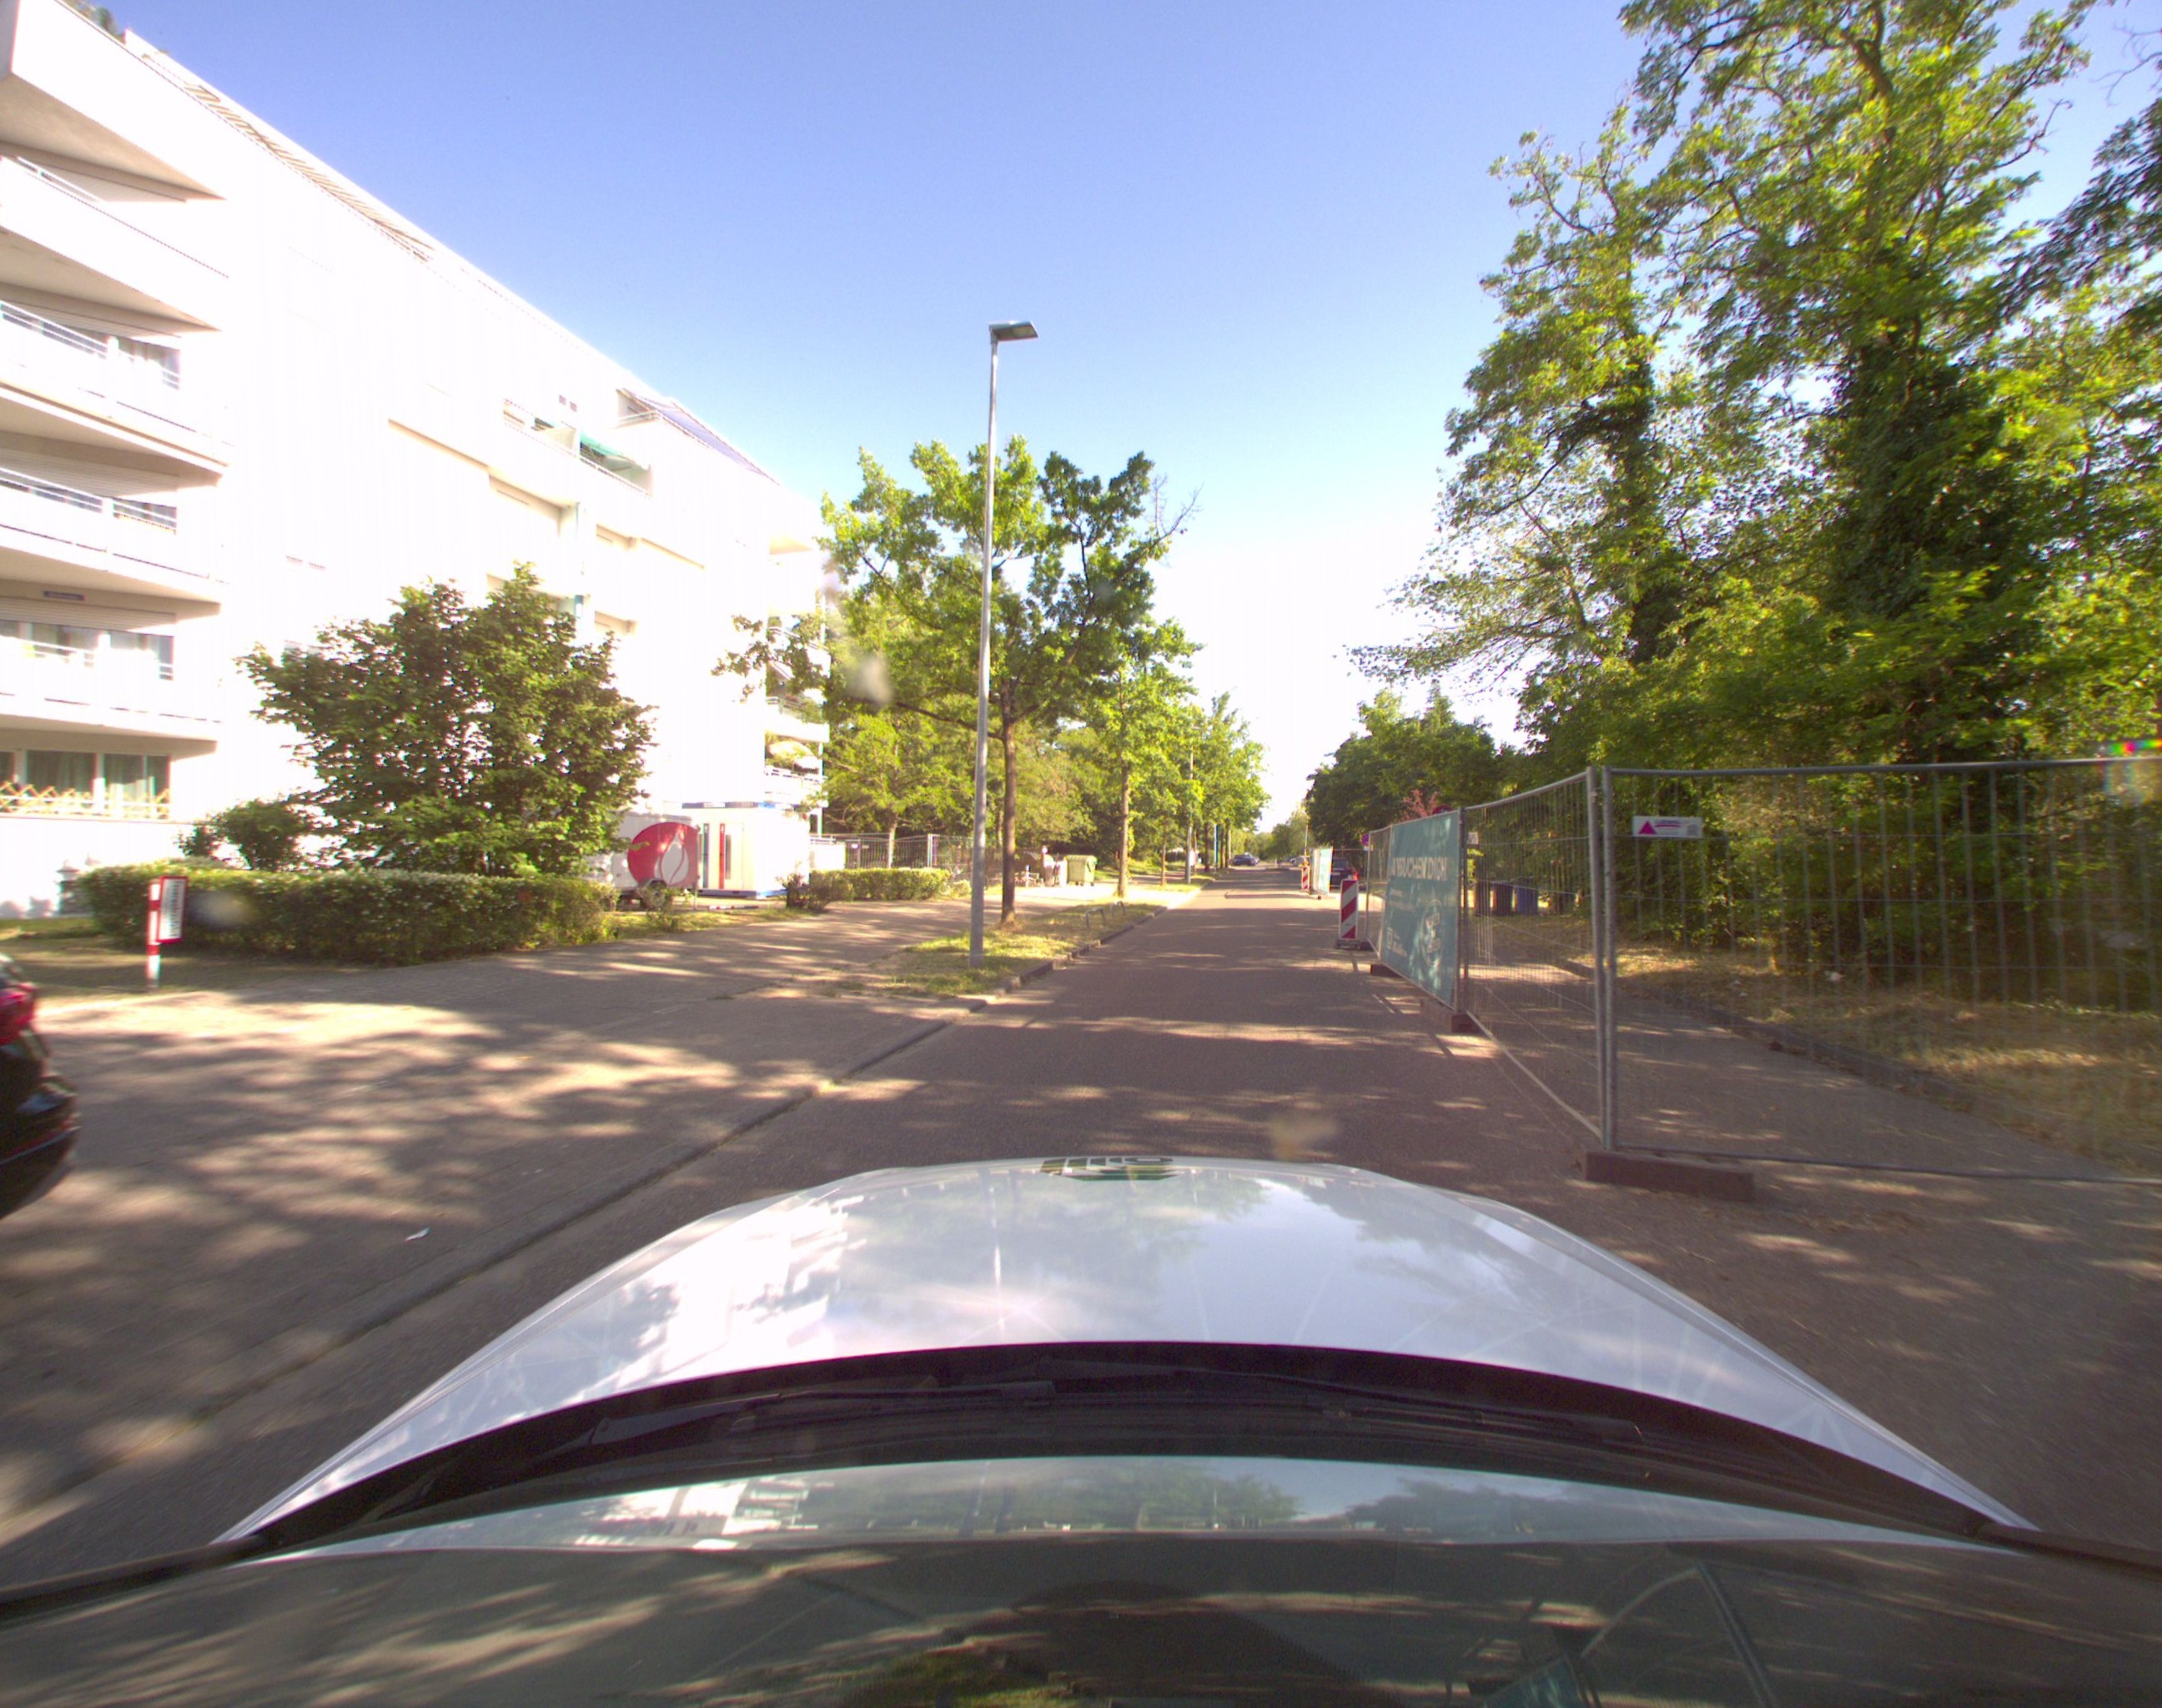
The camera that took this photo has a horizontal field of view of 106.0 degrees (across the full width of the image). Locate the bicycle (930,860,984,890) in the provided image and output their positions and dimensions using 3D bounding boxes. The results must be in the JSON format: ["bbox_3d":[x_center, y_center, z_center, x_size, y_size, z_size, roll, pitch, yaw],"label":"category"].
[{"bbox_3d":[-4.405,0.752,28.865,1.831,1.027,0.400,1,-1,0],"label":"bicycle"}]

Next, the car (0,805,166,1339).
[{"bbox_3d":[-4.525,0.623,0.931,1.763,1.621,4.236,2,0,13],"label":"car"}]

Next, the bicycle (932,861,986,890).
[{"bbox_3d":[-4.401,0.764,29.349,1.852,1.027,0.400,1,-1,0],"label":"bicycle"}]

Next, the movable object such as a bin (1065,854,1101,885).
[{"bbox_3d":[0.101,0.714,38.558,1.257,1.435,1.189,0,0,29],"label":"movable object such as a bin"}]

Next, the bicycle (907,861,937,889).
[{"bbox_3d":[-6.179,0.808,31.678,0.396,1.027,1.707,0,-1,16],"label":"bicycle"}]

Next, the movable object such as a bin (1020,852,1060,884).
[{"bbox_3d":[-1.910,0.633,37.886,1.257,1.435,1.334,0,0,41],"label":"movable object such as a bin"}]

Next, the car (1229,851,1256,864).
[{"bbox_3d":[32.708,0.704,165.040,5.170,2.621,2.299,2,0,8],"label":"car"}]

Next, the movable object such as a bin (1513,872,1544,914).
[{"bbox_3d":[11.011,0.963,20.048,0.515,0.999,0.610,-1,-1,14],"label":"movable object such as a bin"}]

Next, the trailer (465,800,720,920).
[{"bbox_3d":[-9.903,0.100,16.999,1.849,2.120,4.365,2,0,17],"label":"trailer"}]

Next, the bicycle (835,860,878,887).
[{"bbox_3d":[-8.777,0.759,31.865,1.681,1.027,0.402,0,-1,19],"label":"bicycle"}]

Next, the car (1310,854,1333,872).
[{"bbox_3d":[25.125,0.919,85.209,1.780,1.785,4.570,2,0,10],"label":"car"}]

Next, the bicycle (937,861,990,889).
[{"bbox_3d":[-4.359,0.767,30.253,1.908,1.027,0.400,1,-1,0],"label":"bicycle"}]

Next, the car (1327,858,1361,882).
[{"bbox_3d":[16.249,0.973,50.440,1.650,1.375,4.170,2,0,13],"label":"car"}]

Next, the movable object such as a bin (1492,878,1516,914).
[{"bbox_3d":[10.556,1.043,20.347,0.410,0.870,0.486,-1,-1,14],"label":"movable object such as a bin"}]

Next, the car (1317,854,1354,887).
[{"bbox_3d":[13.780,0.872,44.077,1.796,1.651,4.440,2,0,17],"label":"car"}]

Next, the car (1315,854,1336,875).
[{"bbox_3d":[22.296,0.953,74.351,1.612,1.773,3.682,2,0,14],"label":"car"}]

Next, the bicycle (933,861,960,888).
[{"bbox_3d":[-5.181,0.784,31.483,0.396,1.027,1.706,0,-1,13],"label":"bicycle"}]

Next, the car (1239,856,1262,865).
[{"bbox_3d":[32.495,1.307,155.865,4.076,1.576,1.966,2,0,15],"label":"car"}]

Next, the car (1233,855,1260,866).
[{"bbox_3d":[28.499,1.126,139.995,4.282,1.576,2.056,2,0,20],"label":"car"}]

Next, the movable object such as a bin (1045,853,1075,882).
[{"bbox_3d":[-1.041,0.659,40.624,1.145,1.435,1.265,0,0,-20],"label":"movable object such as a bin"}]

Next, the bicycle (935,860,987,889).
[{"bbox_3d":[-4.374,0.760,29.778,1.831,1.027,0.400,1,-1,0],"label":"bicycle"}]

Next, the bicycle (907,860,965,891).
[{"bbox_3d":[-4.892,0.736,27.520,1.862,1.027,0.400,1,-1,0],"label":"bicycle"}]

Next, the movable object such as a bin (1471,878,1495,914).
[{"bbox_3d":[10.073,1.054,20.424,0.410,0.870,0.486,-1,-1,14],"label":"movable object such as a bin"}]

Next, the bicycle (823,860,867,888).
[{"bbox_3d":[-9.040,0.755,31.230,1.681,1.027,0.402,0,-1,19],"label":"bicycle"}]

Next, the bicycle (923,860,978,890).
[{"bbox_3d":[-4.541,0.726,28.409,1.849,1.027,0.400,1,-1,0],"label":"bicycle"}]

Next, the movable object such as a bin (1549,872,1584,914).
[{"bbox_3d":[11.837,0.943,19.871,0.558,0.999,0.610,-1,-1,14],"label":"movable object such as a bin"}]

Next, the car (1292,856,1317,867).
[{"bbox_3d":[36.600,1.179,133.444,3.807,1.576,1.697,2,0,20],"label":"car"}]
